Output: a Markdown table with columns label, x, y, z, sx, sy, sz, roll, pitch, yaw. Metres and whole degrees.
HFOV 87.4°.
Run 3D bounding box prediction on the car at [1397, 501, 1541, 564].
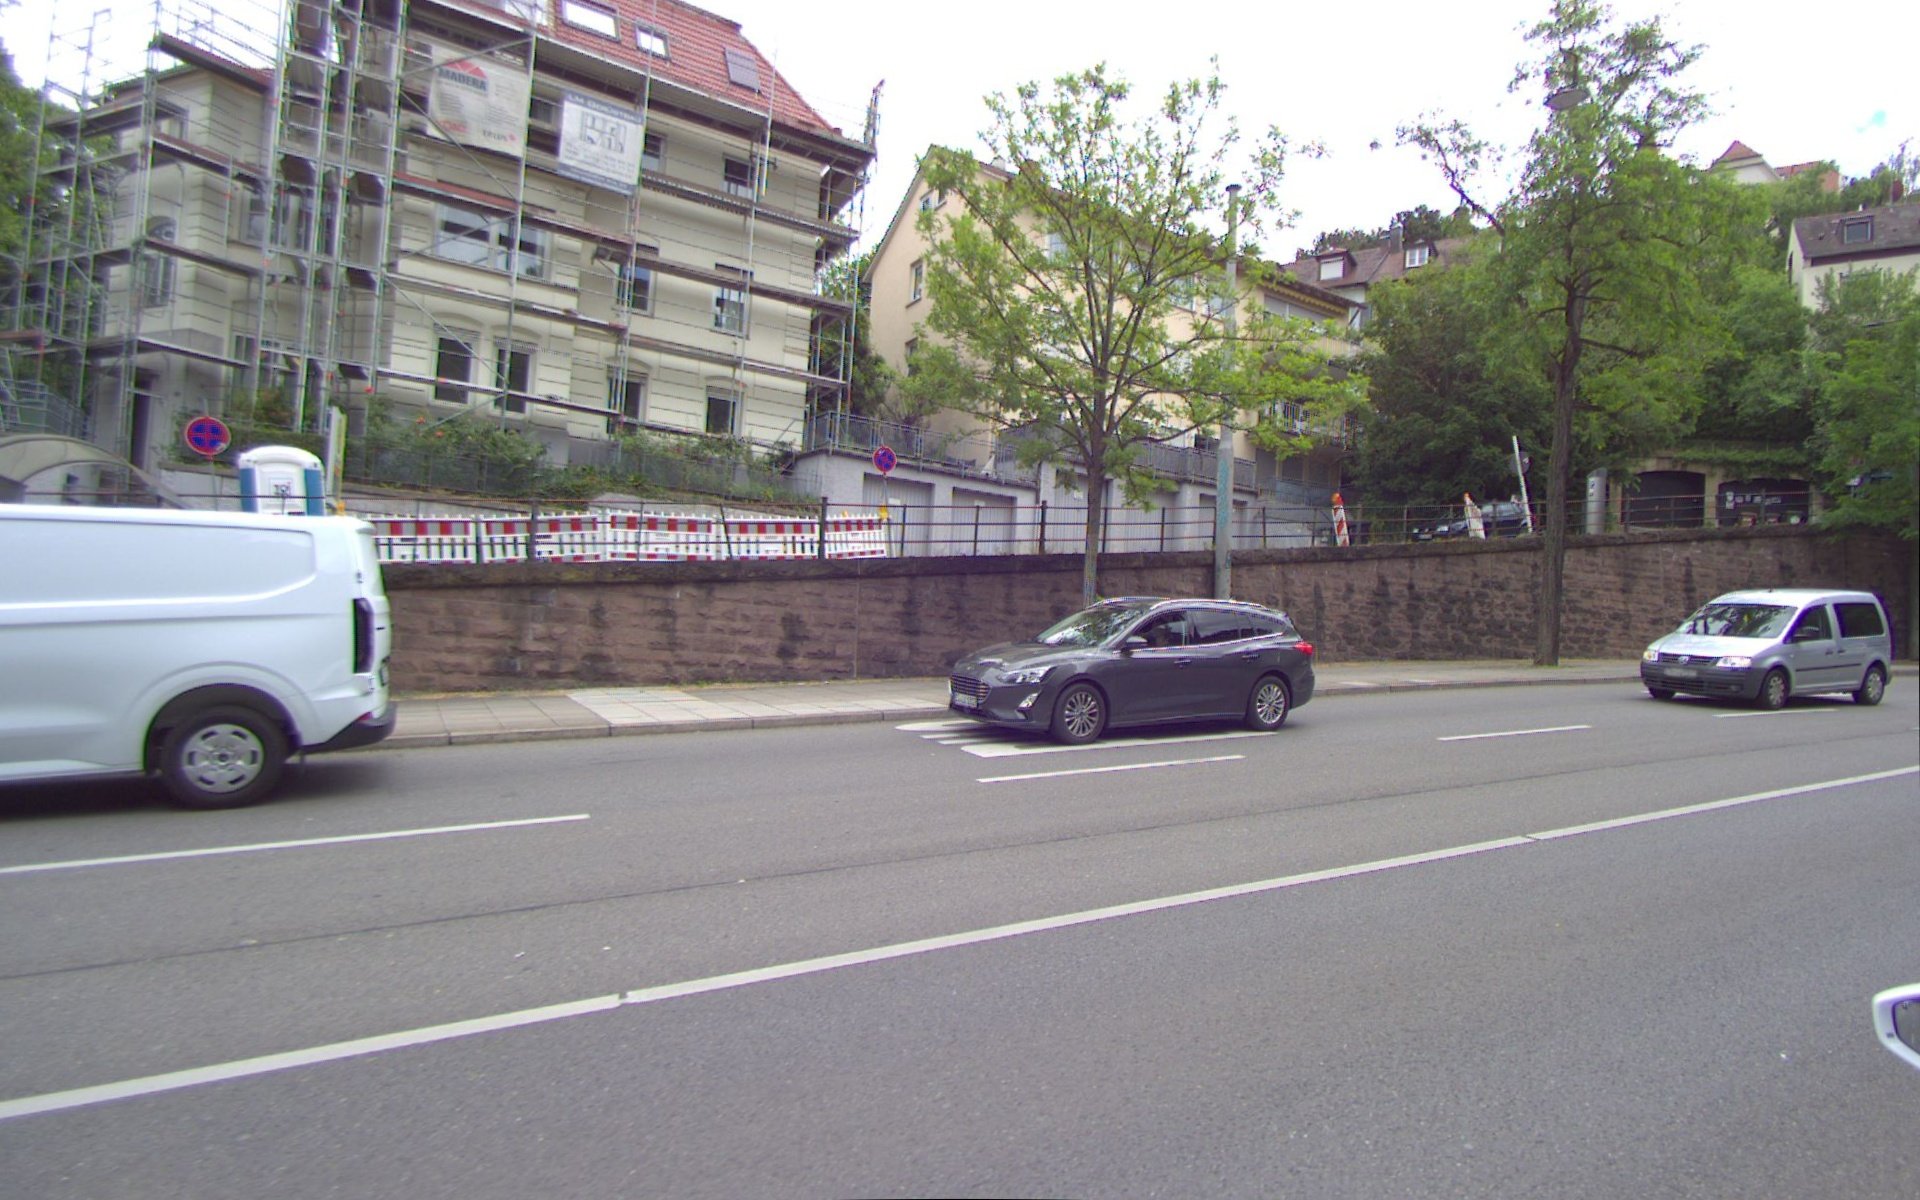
| label | x | y | z | sx | sy | sz | roll | pitch | yaw |
| --- | --- | --- | --- | --- | --- | --- | --- | --- | --- |
| car | 16.092 | -2.092 | 31.787 | 4.001 | 1.662 | 1.767 | 2 | 0 | -18 |

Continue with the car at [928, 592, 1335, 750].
| label | x | y | z | sx | sy | sz | roll | pitch | yaw |
| --- | --- | --- | --- | --- | --- | --- | --- | --- | --- |
| car | 2.039 | 0.711 | 11.490 | 4.556 | 1.493 | 1.649 | 1 | 1 | -29 |

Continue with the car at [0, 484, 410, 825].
| label | x | y | z | sx | sy | sz | roll | pitch | yaw |
| --- | --- | --- | --- | --- | --- | --- | --- | --- | --- |
| car | -6.685 | 0.311 | 6.618 | 5.359 | 2.041 | 1.984 | 0 | 1 | -30 |

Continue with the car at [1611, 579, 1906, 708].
| label | x | y | z | sx | sy | sz | roll | pitch | yaw |
| --- | --- | --- | --- | --- | --- | --- | --- | --- | --- |
| car | 12.945 | 0.648 | 16.287 | 4.387 | 1.838 | 1.852 | 1 | 2 | -24 |
